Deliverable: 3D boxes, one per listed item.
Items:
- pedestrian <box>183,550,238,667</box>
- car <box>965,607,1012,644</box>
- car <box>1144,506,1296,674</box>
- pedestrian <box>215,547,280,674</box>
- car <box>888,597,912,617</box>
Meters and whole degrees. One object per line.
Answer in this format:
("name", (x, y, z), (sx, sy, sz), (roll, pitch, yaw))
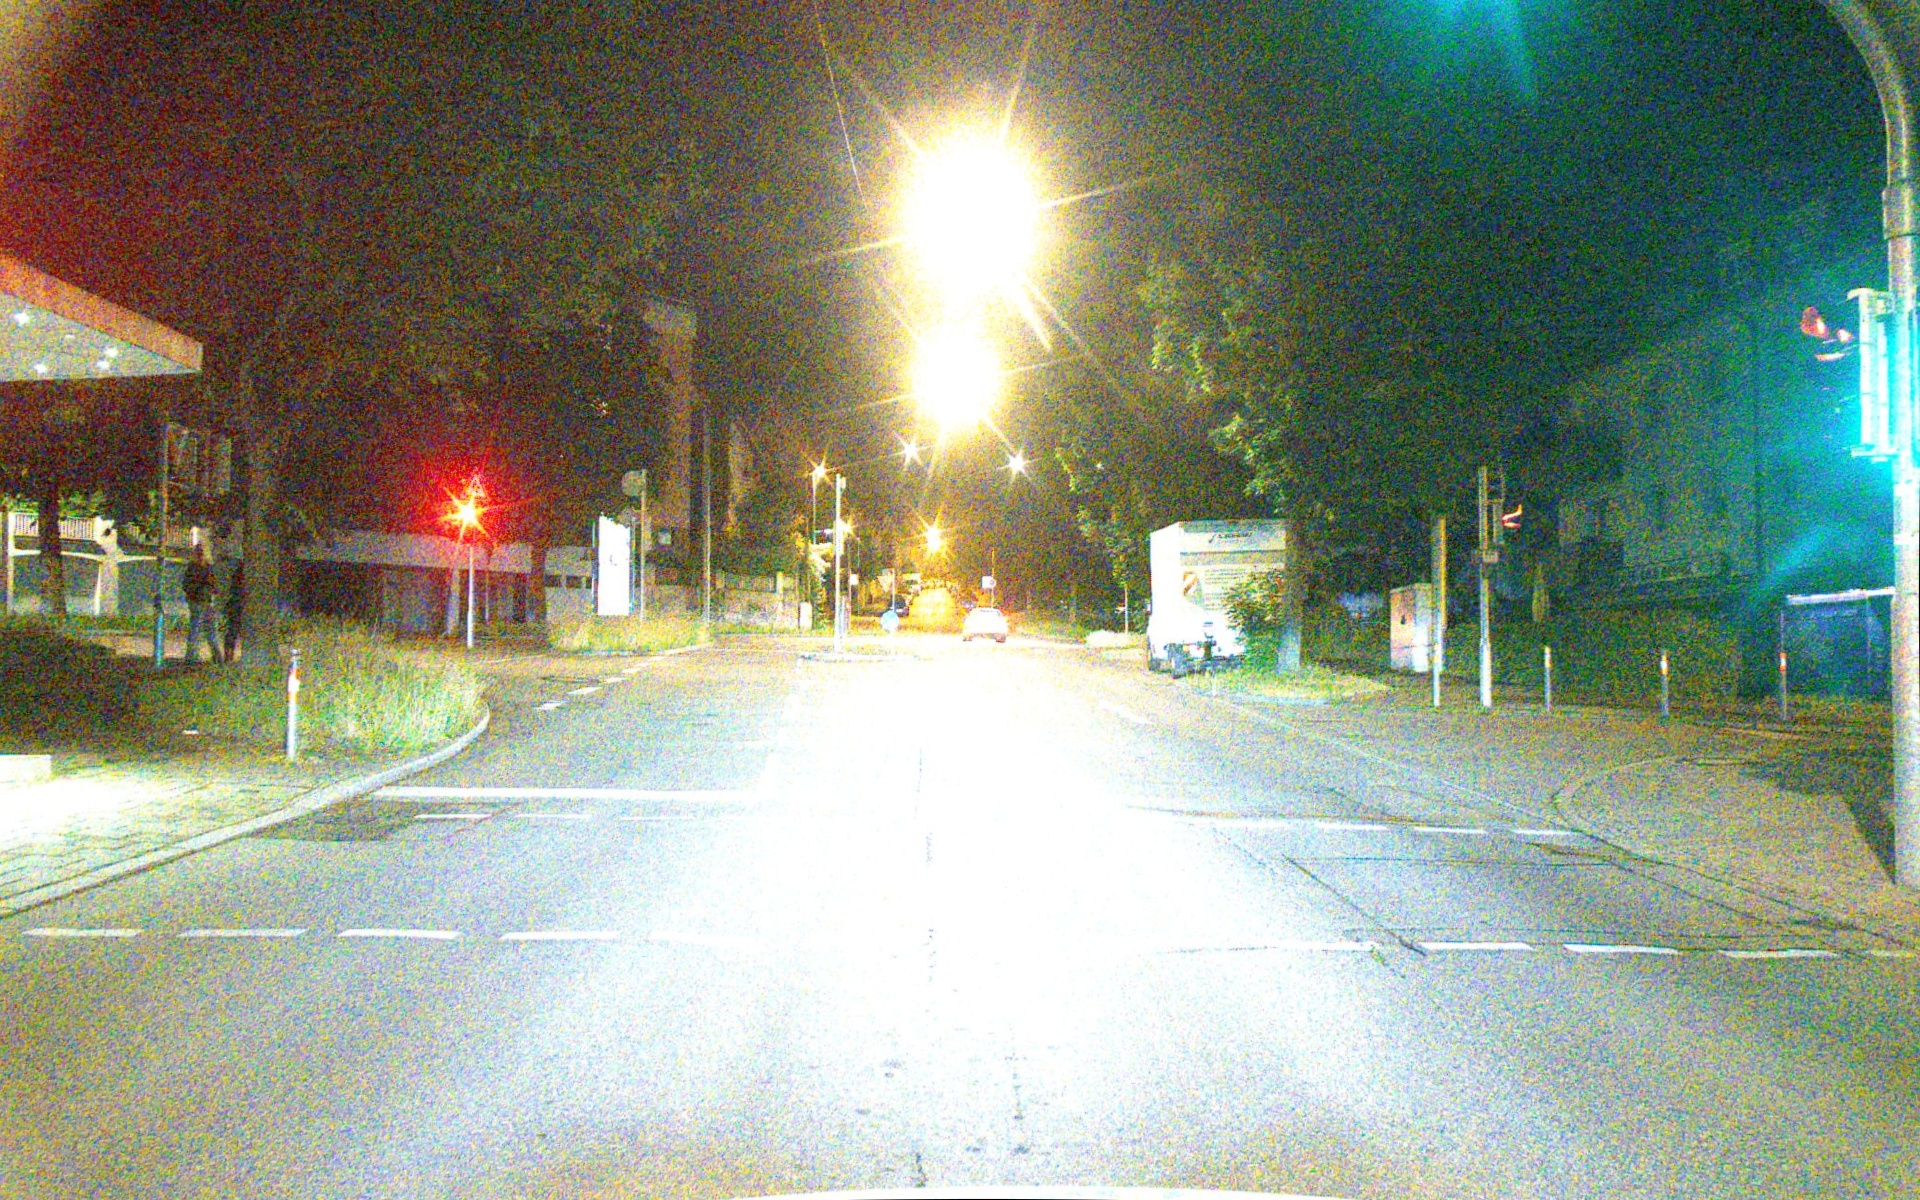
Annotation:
("pedestrian", (-11.455, 0.124, 25.289), (0.558, 1.761, 0.543), (1, -1, -1))
("car", (1.184, 1.064, 71.352), (1.740, 1.512, 3.997), (1, 0, -3))
("car", (5.249, -0.178, 34.305), (2.249, 3.147, 5.840), (-1, 0, 1))
("pedestrian", (-10.434, 0.160, 24.244), (0.558, 1.808, 0.737), (3, -1, -1))
("car", (-4.853, 0.555, 134.328), (1.869, 1.585, 3.903), (1, 0, -1))
